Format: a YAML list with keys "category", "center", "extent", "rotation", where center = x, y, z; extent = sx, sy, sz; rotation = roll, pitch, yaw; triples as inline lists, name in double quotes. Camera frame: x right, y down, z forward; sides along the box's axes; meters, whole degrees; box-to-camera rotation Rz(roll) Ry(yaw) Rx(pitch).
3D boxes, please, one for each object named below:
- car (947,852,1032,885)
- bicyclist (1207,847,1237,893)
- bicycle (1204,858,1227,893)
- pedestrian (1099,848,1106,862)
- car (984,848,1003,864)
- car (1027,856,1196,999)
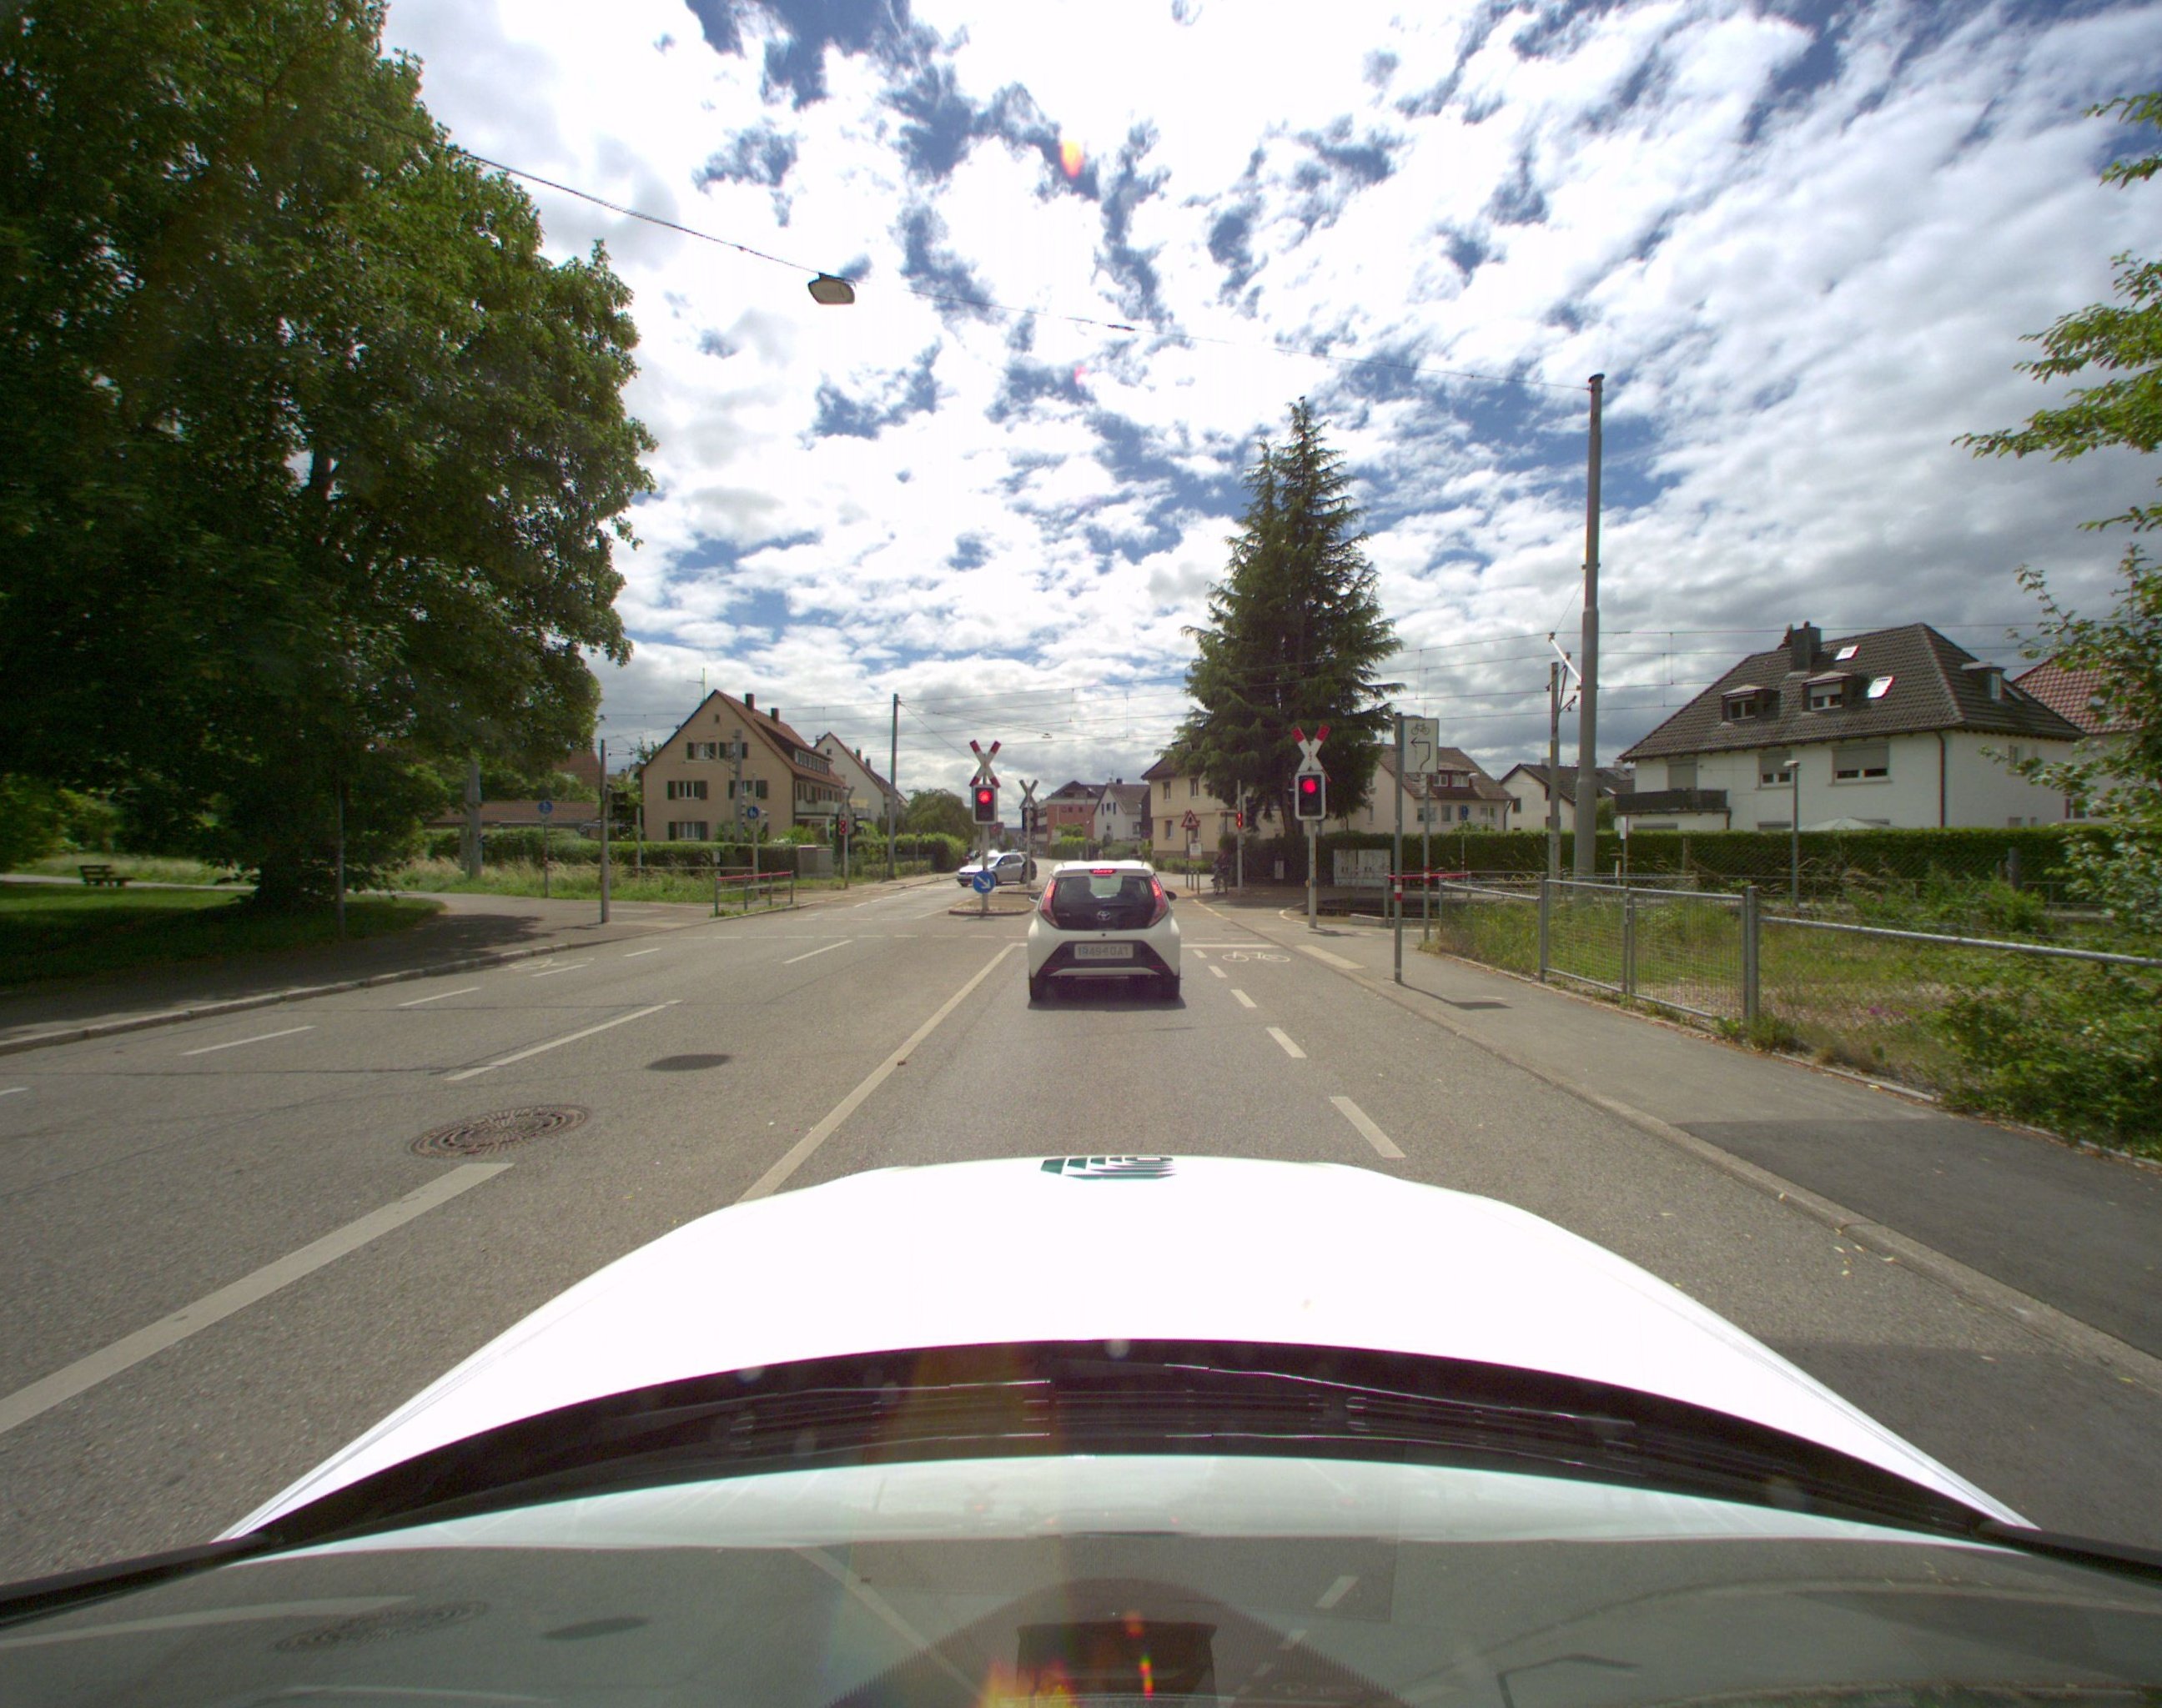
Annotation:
- category: "car"
  center: [-4.194, 0.660, 38.002]
  extent: [1.887, 1.441, 4.124]
  rotation: [0, 0, 30]
- category: "bicyclist"
  center: [5.078, 0.571, 29.425]
  extent: [0.839, 1.553, 0.755]
  rotation: [-3, 2, -4]
- category: "bicycle"
  center: [4.883, 0.766, 29.633]
  extent: [0.456, 1.172, 1.477]
  rotation: [-3, 2, -4]
- category: "pedestrian"
  center: [2.377, 0.137, 91.187]
  extent: [0.723, 1.576, 0.804]
  rotation: [0, 0, 1]
- category: "car"
  center: [-9.534, 0.180, 89.113]
  extent: [1.990, 1.719, 3.994]
  rotation: [1, 0, -5]
- category: "car"
  center: [0.265, 0.753, 10.161]
  extent: [1.716, 1.442, 3.706]
  rotation: [1, 0, -2]
